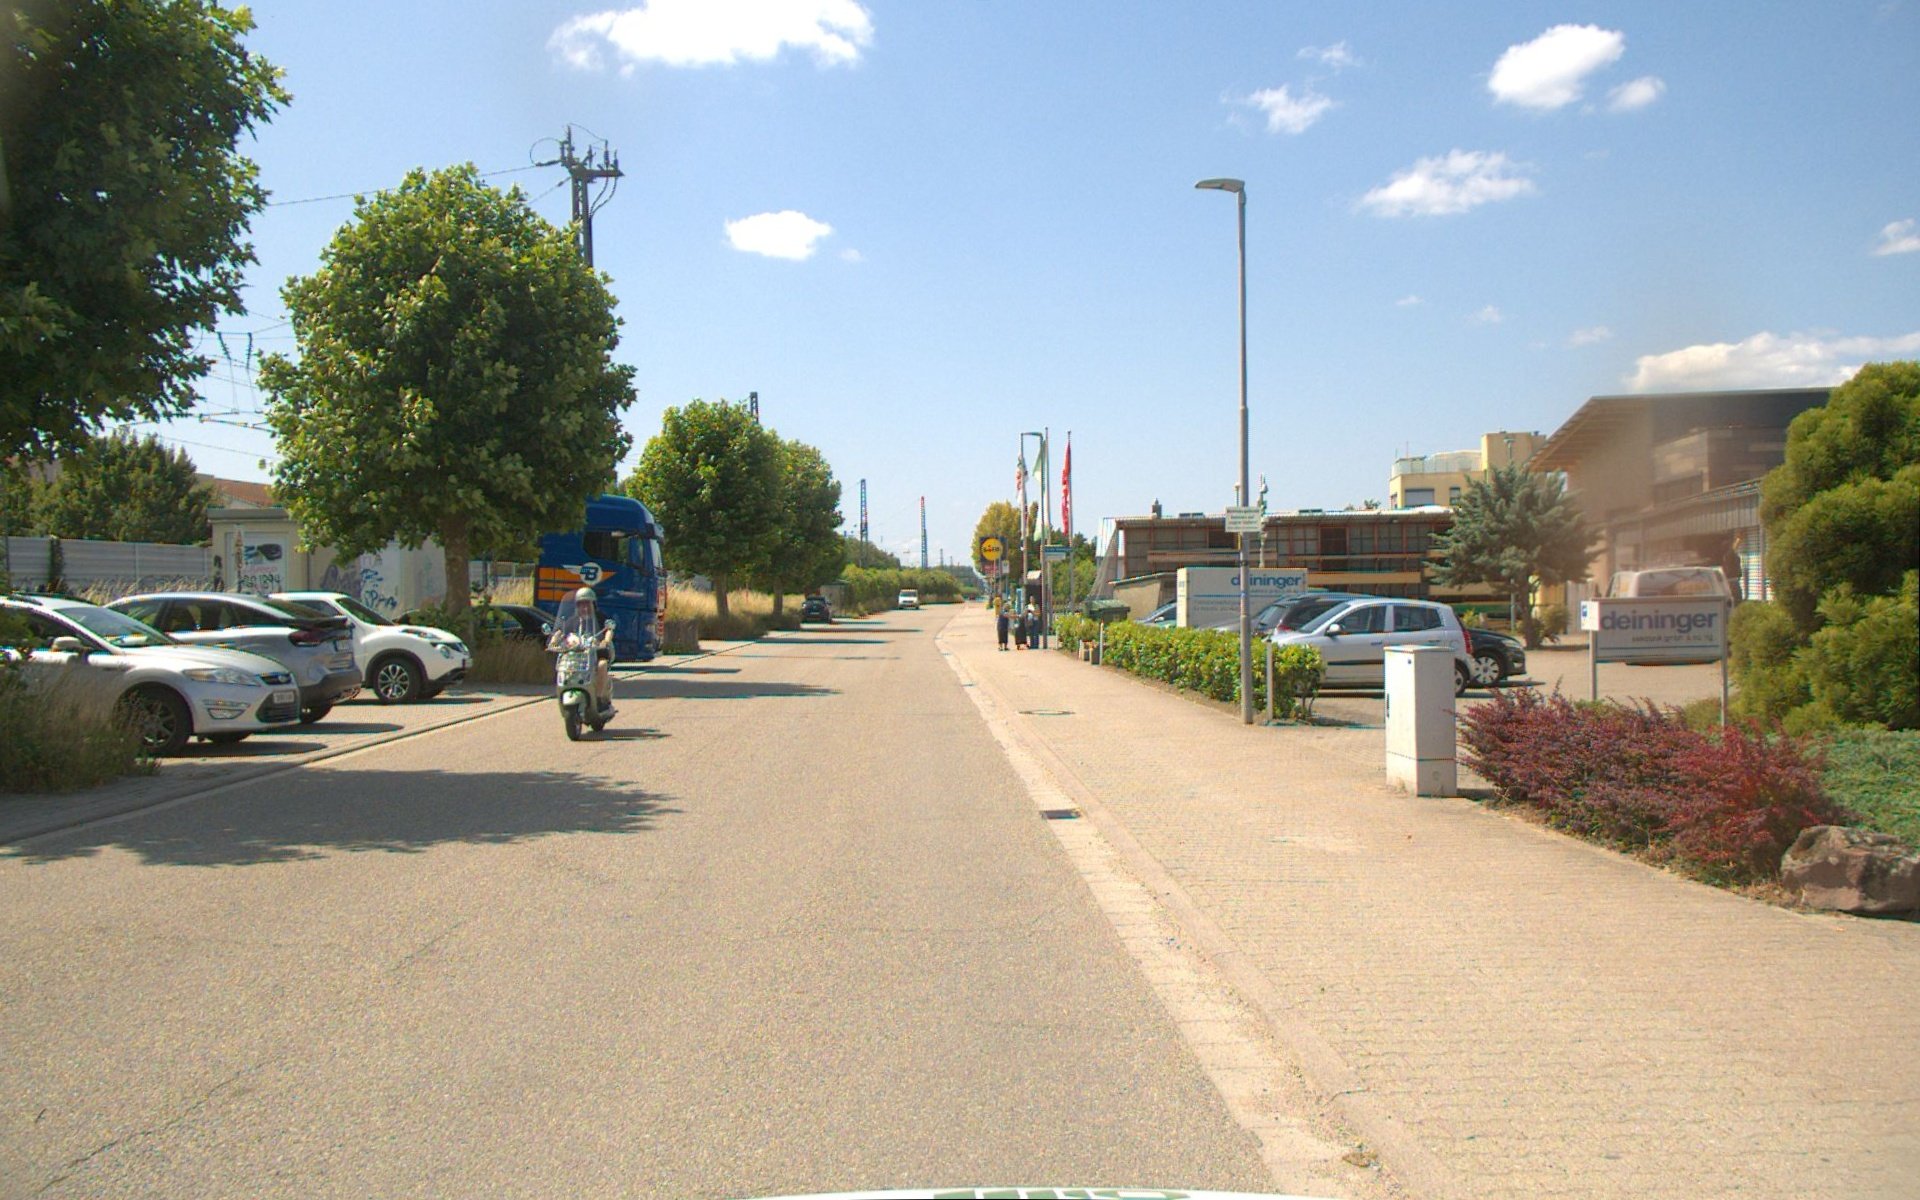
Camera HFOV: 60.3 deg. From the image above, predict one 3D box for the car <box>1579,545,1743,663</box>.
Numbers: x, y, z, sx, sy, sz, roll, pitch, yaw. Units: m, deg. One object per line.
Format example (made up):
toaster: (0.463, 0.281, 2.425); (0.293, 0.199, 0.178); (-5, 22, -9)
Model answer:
car: (14.313, 0.085, 34.081); (2.055, 2.162, 4.720); (-3, -1, 11)

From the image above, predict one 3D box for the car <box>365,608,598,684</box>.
car: (-9.438, 0.885, 32.895); (4.125, 1.419, 1.871); (0, 0, -4)

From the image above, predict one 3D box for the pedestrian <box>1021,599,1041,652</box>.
pedestrian: (2.154, 0.782, 50.285); (0.524, 1.567, 0.510); (-2, -2, -2)

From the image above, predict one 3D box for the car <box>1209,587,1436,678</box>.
car: (7.019, 0.638, 32.219); (3.957, 1.602, 1.711); (-2, -2, -7)

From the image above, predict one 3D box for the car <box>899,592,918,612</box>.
car: (-4.942, 0.196, 159.393); (1.801, 1.890, 4.483); (0, 0, -1)

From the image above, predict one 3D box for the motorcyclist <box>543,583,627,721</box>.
motorcyclist: (-4.273, 0.579, 18.893); (0.760, 1.535, 0.921); (0, 0, -1)

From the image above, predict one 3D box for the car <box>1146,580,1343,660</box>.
car: (6.515, 0.484, 38.156); (4.128, 1.662, 1.799); (-2, -2, -3)

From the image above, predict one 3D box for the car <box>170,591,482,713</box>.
car: (-9.245, 0.730, 24.371); (3.892, 1.646, 1.849); (-1, 0, -5)

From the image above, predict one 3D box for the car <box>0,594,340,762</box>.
car: (-8.658, 0.729, 16.448); (4.250, 1.560, 1.925); (0, 0, -2)

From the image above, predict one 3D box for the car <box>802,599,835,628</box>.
car: (-8.182, 0.772, 95.826); (1.706, 1.624, 3.578); (0, 0, -2)

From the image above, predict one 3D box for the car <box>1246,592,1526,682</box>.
car: (7.358, 0.619, 28.801); (4.387, 1.465, 1.813); (0, 0, -5)

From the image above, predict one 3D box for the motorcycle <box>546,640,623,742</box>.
motorcycle: (-4.267, 1.006, 18.880); (0.454, 1.069, 1.955); (0, -1, -1)

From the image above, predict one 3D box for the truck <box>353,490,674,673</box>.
truck: (-9.828, -0.411, 36.961); (6.482, 3.890, 2.662); (0, 0, -3)

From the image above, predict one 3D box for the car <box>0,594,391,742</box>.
car: (-8.868, 0.748, 19.115); (3.908, 1.575, 1.999); (-1, 0, -3)

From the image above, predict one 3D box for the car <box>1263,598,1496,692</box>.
car: (6.595, 0.688, 26.254); (3.283, 1.426, 1.770); (0, 0, 1)

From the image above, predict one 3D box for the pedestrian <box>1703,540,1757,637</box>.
pedestrian: (16.142, -0.237, 34.693); (0.701, 1.977, 0.690); (-2, -2, -3)

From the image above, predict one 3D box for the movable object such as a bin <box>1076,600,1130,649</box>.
movable object such as a bin: (4.339, 0.735, 50.152); (1.255, 1.484, 1.034); (1, 0, -39)

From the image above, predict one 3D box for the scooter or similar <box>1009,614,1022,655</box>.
scooter or similar: (1.697, 1.058, 50.468); (0.327, 1.219, 0.397); (-2, -2, -1)

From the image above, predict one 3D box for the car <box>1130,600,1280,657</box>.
car: (6.601, 0.764, 44.806); (3.767, 1.481, 1.817); (0, 0, -1)

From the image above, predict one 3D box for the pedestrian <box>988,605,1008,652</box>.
pedestrian: (1.161, 0.871, 50.434); (0.554, 1.430, 0.583); (-2, -2, -2)

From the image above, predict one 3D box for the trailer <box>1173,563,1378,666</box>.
trailer: (6.536, 0.295, 34.623); (3.905, 2.049, 2.000); (0, 0, 0)
